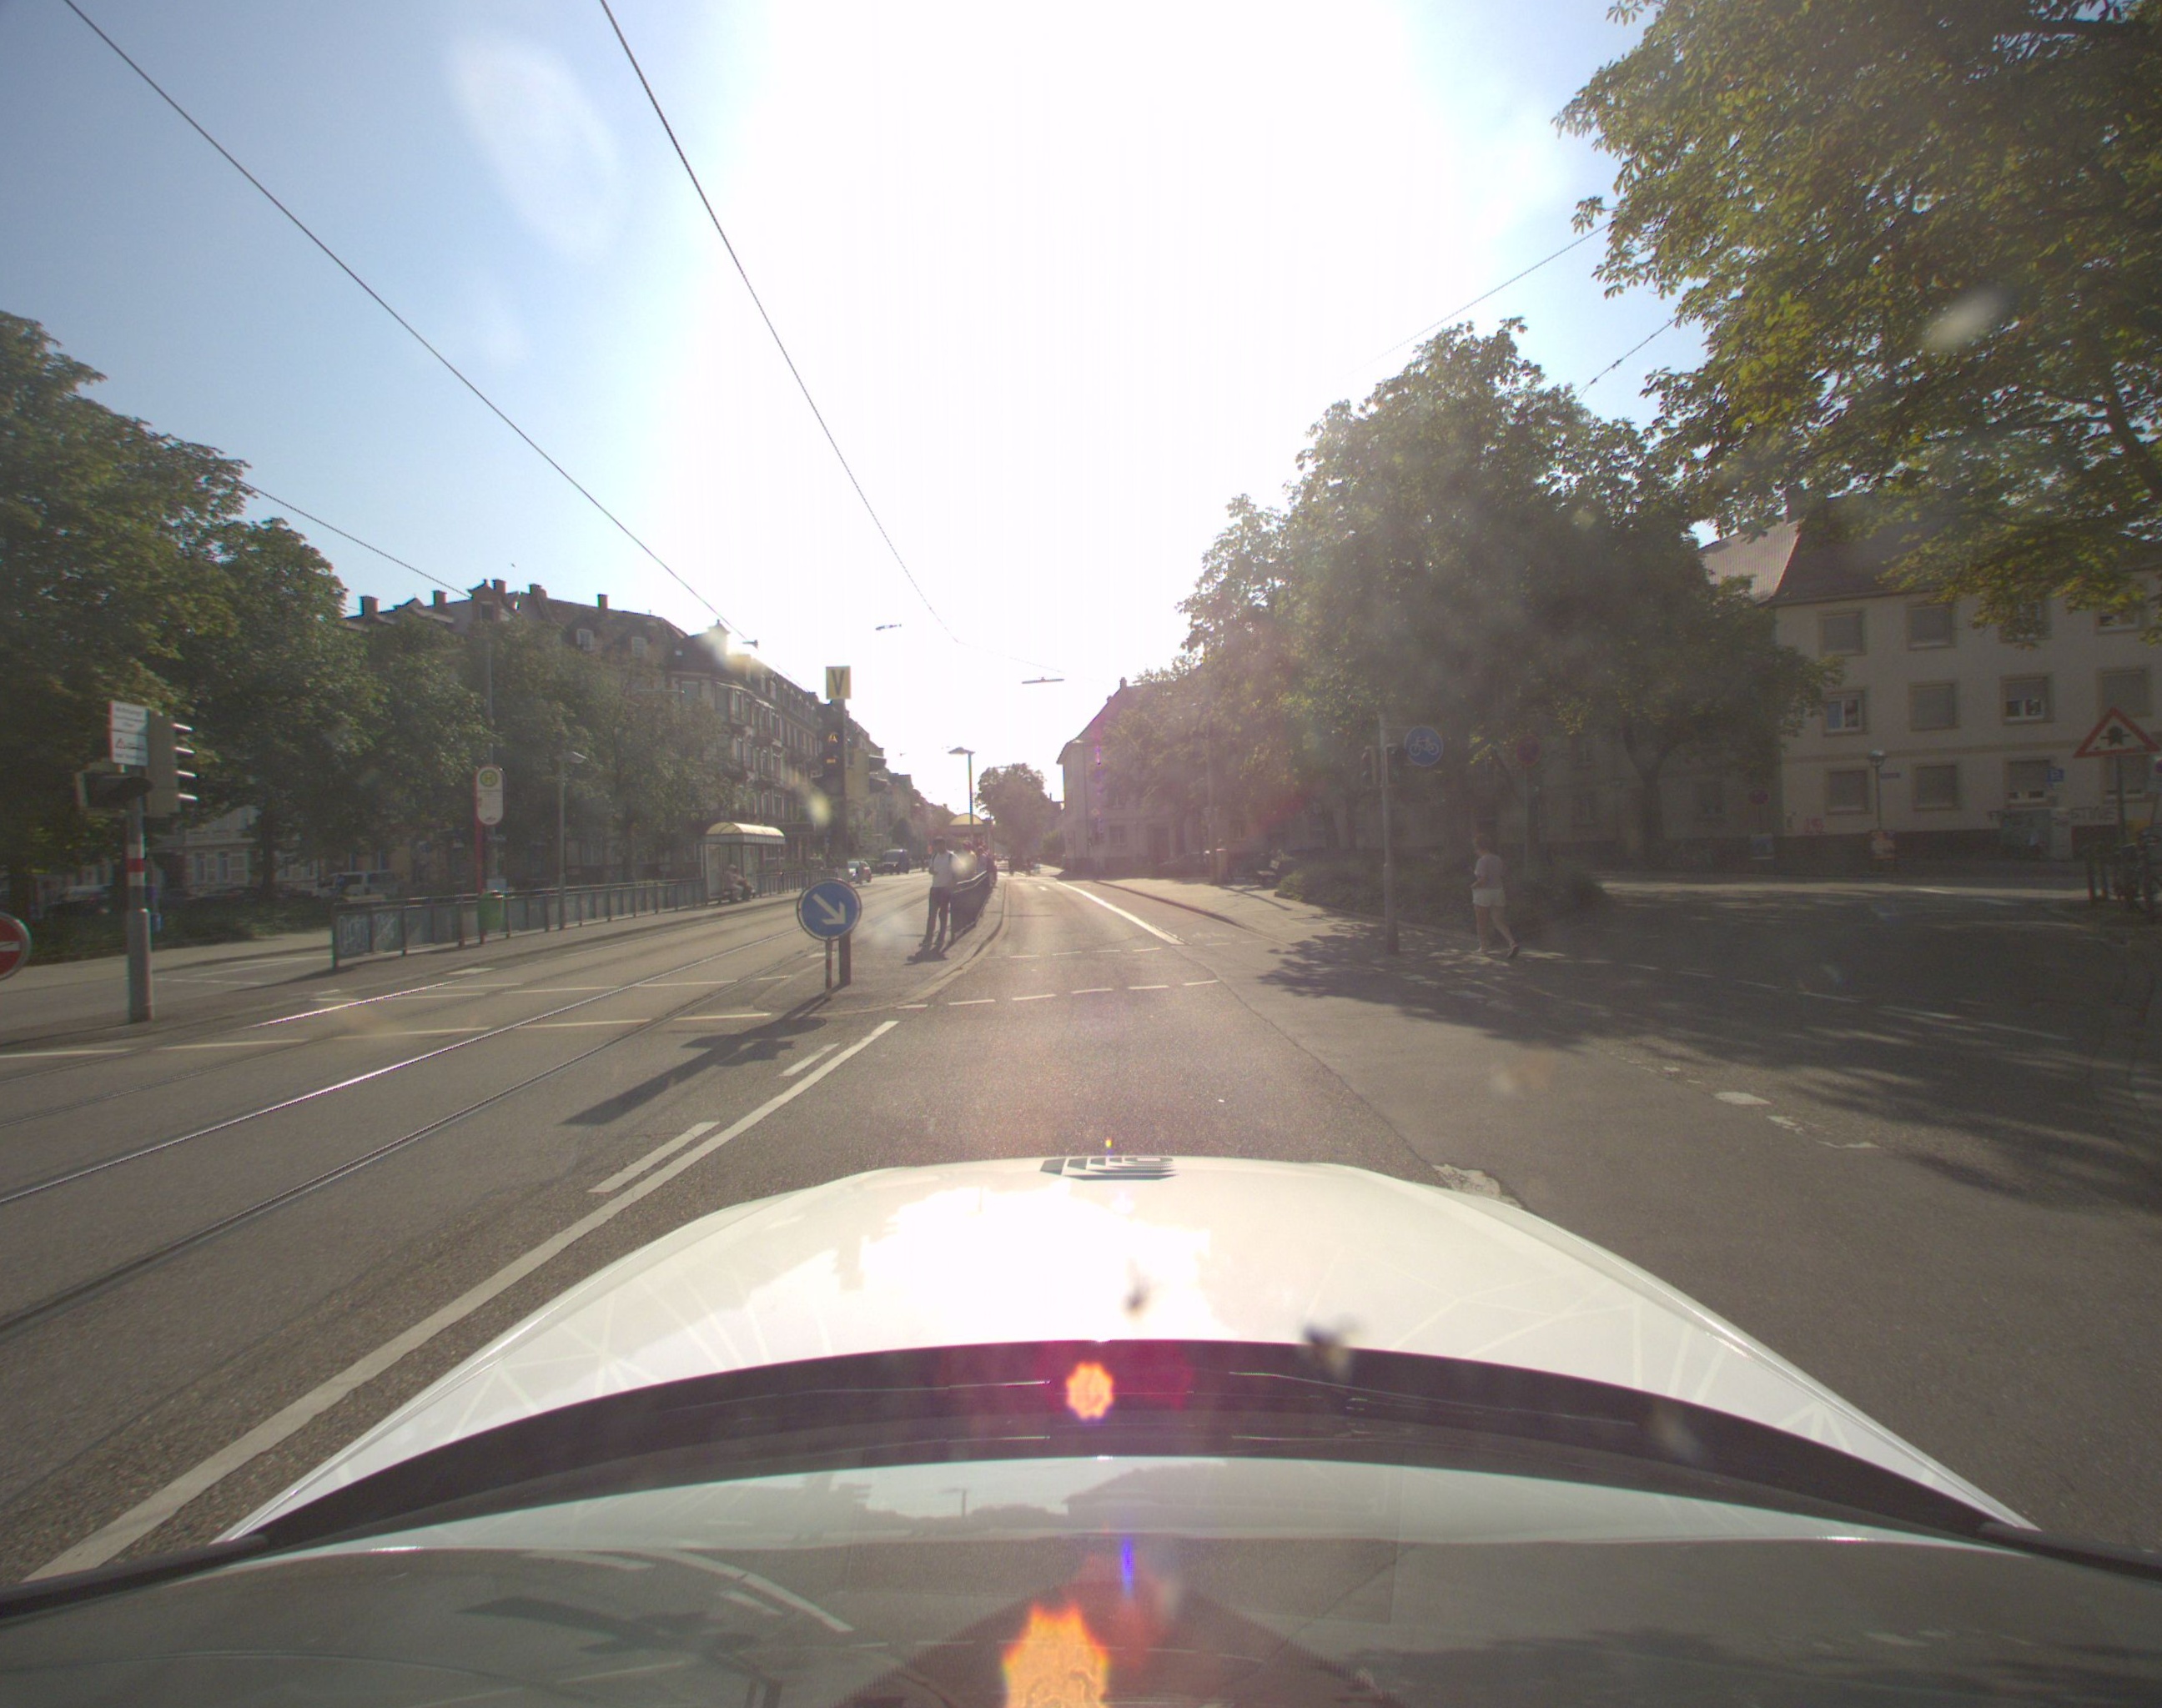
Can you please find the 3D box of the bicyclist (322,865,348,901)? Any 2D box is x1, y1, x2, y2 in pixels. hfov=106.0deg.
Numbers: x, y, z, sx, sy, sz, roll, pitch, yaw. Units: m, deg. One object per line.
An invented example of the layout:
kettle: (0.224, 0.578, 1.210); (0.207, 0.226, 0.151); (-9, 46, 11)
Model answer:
bicyclist: (-40.226, 1.563, 43.913); (0.980, 1.857, 0.494); (-2, 0, 11)

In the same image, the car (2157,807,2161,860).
car: (32.879, -0.642, 22.632); (1.579, 1.612, 4.019); (-2, 0, 19)

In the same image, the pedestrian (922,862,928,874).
pedestrian: (-22.562, 1.985, 117.902); (0.751, 1.731, 0.768); (-2, 0, -14)

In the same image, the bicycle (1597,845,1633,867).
bicycle: (24.167, 0.085, 36.886); (0.424, 0.978, 1.552); (-2, 0, -7)

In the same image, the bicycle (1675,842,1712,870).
bicycle: (24.231, 0.067, 32.225); (1.558, 1.038, 0.422); (-2, 0, -24)

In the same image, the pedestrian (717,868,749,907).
pedestrian: (-12.544, 1.186, 29.365); (0.827, 1.359, 0.774); (-2, 0, -9)

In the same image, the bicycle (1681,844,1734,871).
bicycle: (23.690, 0.132, 30.796); (1.541, 0.978, 0.427); (-2, 0, 10)

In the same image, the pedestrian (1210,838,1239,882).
pedestrian: (5.835, 0.243, 33.106); (0.882, 1.740, 0.781); (-2, -1, 32)

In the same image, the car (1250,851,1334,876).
car: (12.278, 0.571, 47.572); (4.281, 1.320, 2.012); (-2, 0, 42)

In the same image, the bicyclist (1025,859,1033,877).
bicyclist: (-4.130, 1.118, 65.110); (0.557, 1.416, 0.870); (-2, 0, -6)

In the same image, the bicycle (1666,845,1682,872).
bicycle: (23.318, 0.165, 32.029); (0.420, 0.978, 1.566); (-2, 0, 33)

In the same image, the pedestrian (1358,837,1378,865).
pedestrian: (18.745, -0.186, 53.144); (0.780, 1.740, 0.884); (-2, -1, -38)

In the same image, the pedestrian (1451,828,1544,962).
pedestrian: (5.646, 0.533, 11.079); (0.751, 1.731, 0.768); (-2, 0, -14)

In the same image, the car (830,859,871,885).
car: (-15.980, 1.221, 56.652); (1.796, 1.653, 3.641); (-2, 0, -1)

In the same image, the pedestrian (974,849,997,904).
pedestrian: (-3.141, 0.734, 26.713); (0.707, 1.759, 0.533); (0, 2, -5)

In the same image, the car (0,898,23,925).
car: (-68.815, 3.649, 50.655); (4.293, 1.569, 2.007); (-2, 0, 12)

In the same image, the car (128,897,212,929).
car: (-58.084, 3.756, 51.949); (3.956, 1.828, 2.009); (-2, 0, 16)

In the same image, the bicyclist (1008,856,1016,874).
bicyclist: (-5.781, 0.906, 68.423); (0.628, 1.507, 0.677); (-2, 0, -7)

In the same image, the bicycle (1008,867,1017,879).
bicycle: (-5.760, 1.615, 68.421); (0.628, 0.978, 1.766); (-2, 0, -6)

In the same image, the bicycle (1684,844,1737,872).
bicycle: (23.550, 0.148, 30.480); (1.541, 0.978, 0.427); (-2, 0, 10)

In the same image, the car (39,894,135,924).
car: (-57.753, 3.186, 47.322); (4.288, 1.569, 2.009); (-2, 0, 17)

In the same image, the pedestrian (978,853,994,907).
pedestrian: (-3.196, 0.866, 27.326); (0.503, 1.759, 0.533); (0, 2, -5)

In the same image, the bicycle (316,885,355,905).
bicycle: (-40.218, 2.227, 43.921); (1.923, 0.978, 0.498); (-2, 0, 12)

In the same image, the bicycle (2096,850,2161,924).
bicycle: (15.623, 0.466, 12.139); (1.780, 0.978, 0.420); (-2, 0, -44)

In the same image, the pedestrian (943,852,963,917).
pedestrian: (-3.535, 0.836, 22.473); (0.503, 1.759, 0.533); (0, 2, -5)

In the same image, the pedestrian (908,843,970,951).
pedestrian: (-2.359, 0.686, 13.588); (0.693, 1.725, 0.752); (1, 2, 28)

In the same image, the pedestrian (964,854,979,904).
pedestrian: (-3.938, 0.892, 29.268); (0.503, 1.759, 0.533); (0, 2, -5)

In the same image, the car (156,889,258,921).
car: (-48.288, 2.811, 45.020); (4.290, 1.569, 2.008); (-2, 0, 15)

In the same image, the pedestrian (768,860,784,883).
pedestrian: (-23.351, 1.351, 62.376); (0.743, 1.731, 0.776); (-2, 0, 27)

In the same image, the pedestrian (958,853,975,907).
pedestrian: (-3.835, 0.873, 27.274); (0.542, 1.759, 0.533); (0, 2, -5)

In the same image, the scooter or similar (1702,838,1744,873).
scooter or similar: (23.614, 0.053, 29.959); (1.059, 1.197, 0.462); (-6, -1, 27)

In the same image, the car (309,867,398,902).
car: (-42.036, 1.755, 47.090); (3.956, 1.828, 2.009); (-2, 0, 16)

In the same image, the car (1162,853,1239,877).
car: (7.474, 0.681, 51.114); (4.280, 1.320, 2.013); (-2, 0, 34)

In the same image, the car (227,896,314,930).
car: (-49.057, 3.566, 49.313); (3.956, 1.828, 2.009); (-2, 0, 16)

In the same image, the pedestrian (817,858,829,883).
pedestrian: (-18.569, 1.165, 58.632); (0.751, 1.731, 0.768); (-2, 0, -14)

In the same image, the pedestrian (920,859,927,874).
pedestrian: (-18.203, 1.439, 94.024); (0.751, 1.731, 0.768); (-2, 0, -14)

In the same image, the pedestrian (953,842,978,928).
pedestrian: (-2.525, 0.663, 17.848); (0.503, 1.833, 0.533); (0, 2, -5)

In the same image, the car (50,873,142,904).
car: (-64.786, 2.230, 53.601); (3.965, 1.828, 2.005); (-2, 0, 8)

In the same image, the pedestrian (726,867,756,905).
pedestrian: (-12.644, 1.195, 30.335); (0.827, 1.359, 0.774); (-2, 0, -9)

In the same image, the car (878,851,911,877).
car: (-20.193, 1.095, 88.246); (2.340, 2.662, 5.103); (-2, 0, -1)

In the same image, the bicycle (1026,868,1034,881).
bicycle: (-4.101, 1.669, 65.094); (0.557, 0.978, 1.852); (-2, 0, -6)
